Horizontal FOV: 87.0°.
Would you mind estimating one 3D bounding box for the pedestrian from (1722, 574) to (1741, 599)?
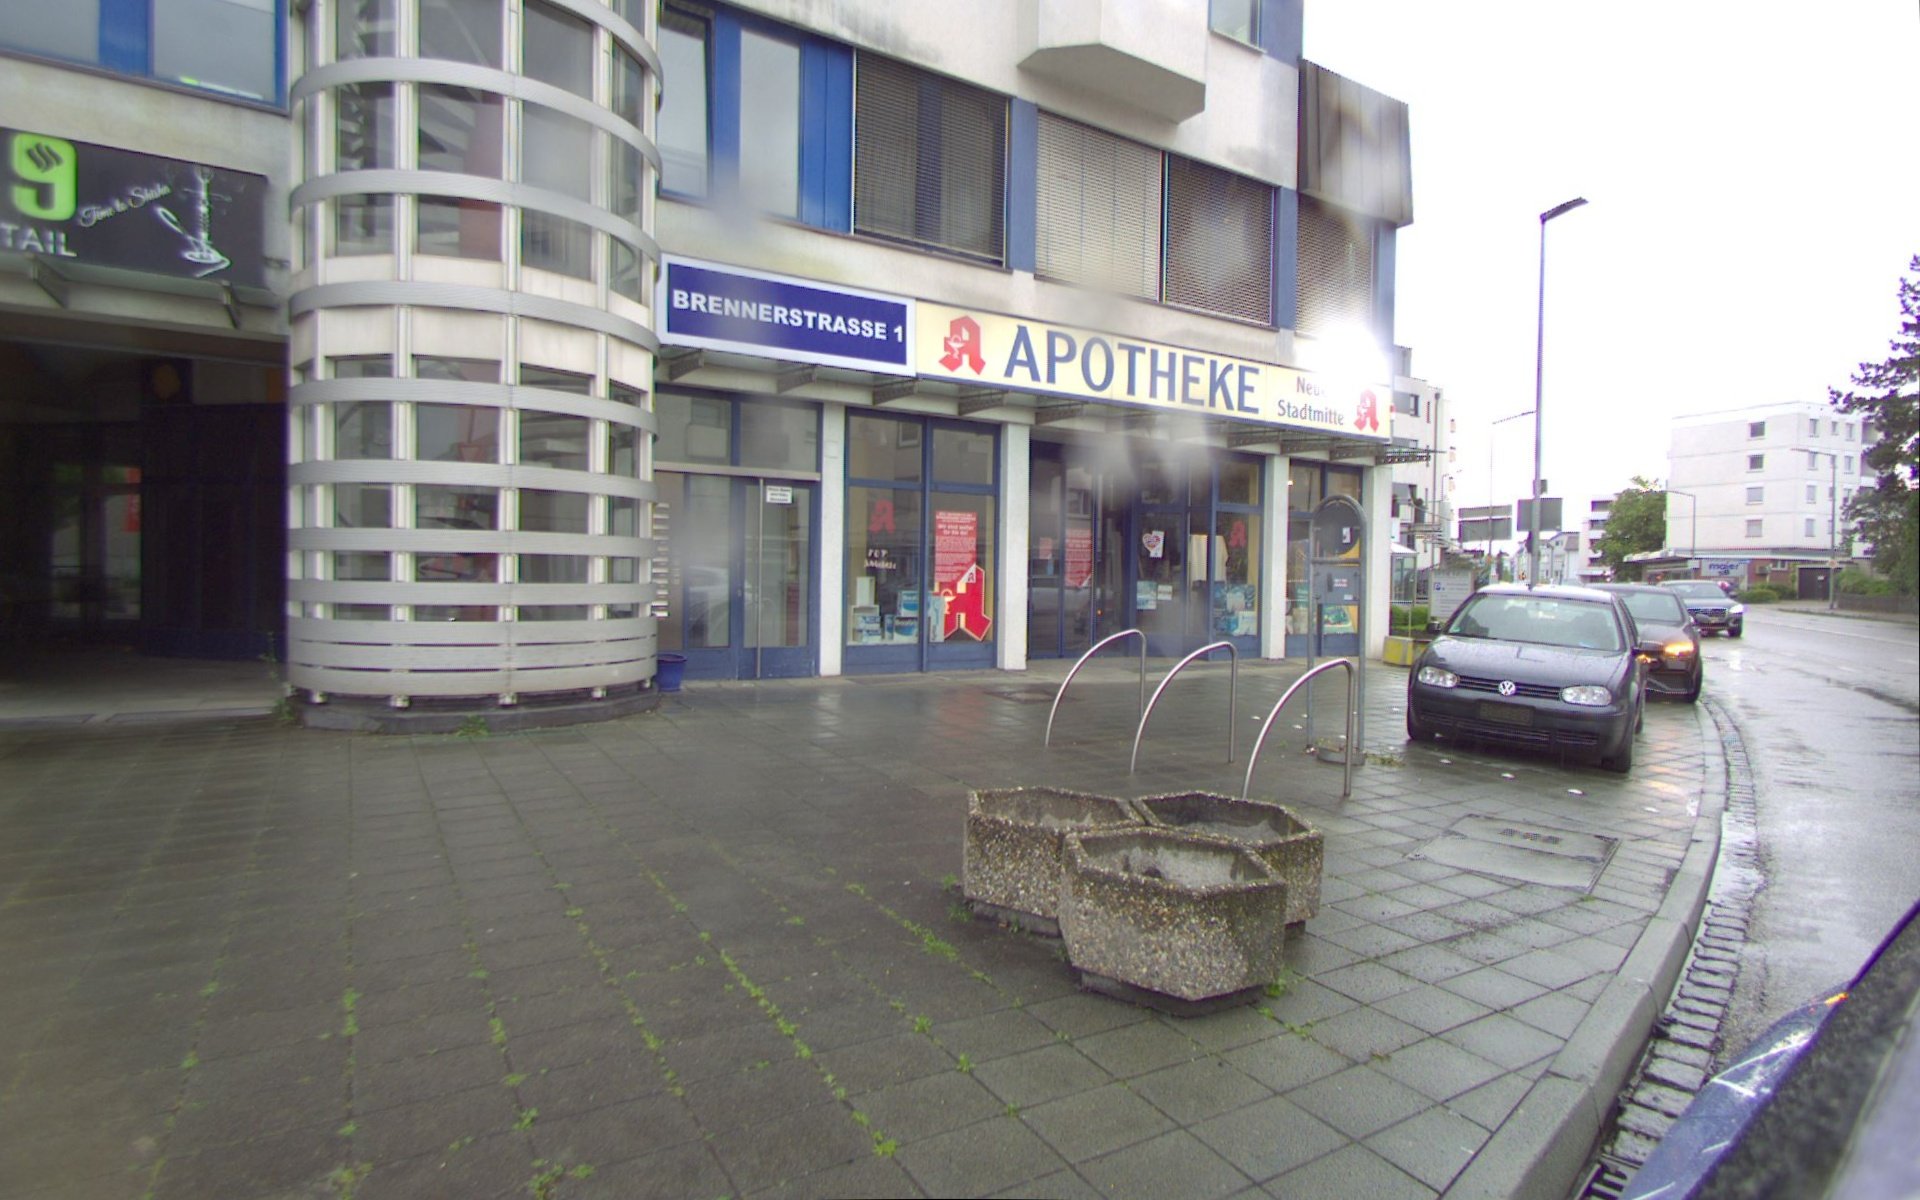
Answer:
[{"bbox_3d":[55.822,-0.991,73.261,0.845,1.757,0.831,1,2,20],"label":"pedestrian"}]

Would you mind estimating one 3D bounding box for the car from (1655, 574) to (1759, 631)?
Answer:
[{"bbox_3d":[20.958,0.007,28.548,1.719,1.462,4.009,0,2,27],"label":"car"}]

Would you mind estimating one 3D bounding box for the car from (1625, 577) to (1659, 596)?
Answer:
[{"bbox_3d":[55.253,-1.147,82.075,1.855,1.454,3.704,1,2,28],"label":"car"}]

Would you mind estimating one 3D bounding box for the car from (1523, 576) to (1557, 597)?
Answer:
[{"bbox_3d":[42.544,-0.994,74.251,1.783,1.385,3.941,1,3,25],"label":"car"}]

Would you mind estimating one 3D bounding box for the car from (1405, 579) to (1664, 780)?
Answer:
[{"bbox_3d":[5.483,0.545,9.434,1.646,1.388,3.683,5,4,36],"label":"car"}]

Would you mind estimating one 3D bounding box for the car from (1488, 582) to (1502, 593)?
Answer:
[{"bbox_3d":[80.667,-1.908,152.514,1.728,1.660,3.964,1,2,26],"label":"car"}]

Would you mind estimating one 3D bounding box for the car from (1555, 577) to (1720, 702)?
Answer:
[{"bbox_3d":[9.416,0.426,14.015,1.650,1.442,3.949,2,2,36],"label":"car"}]

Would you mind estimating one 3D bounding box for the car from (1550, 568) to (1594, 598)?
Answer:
[{"bbox_3d":[32.594,-0.896,53.987,1.718,1.547,4.024,2,1,27],"label":"car"}]

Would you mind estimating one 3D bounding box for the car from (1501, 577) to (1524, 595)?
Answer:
[{"bbox_3d":[54.630,-1.394,100.144,1.982,1.635,3.961,-1,1,28],"label":"car"}]
